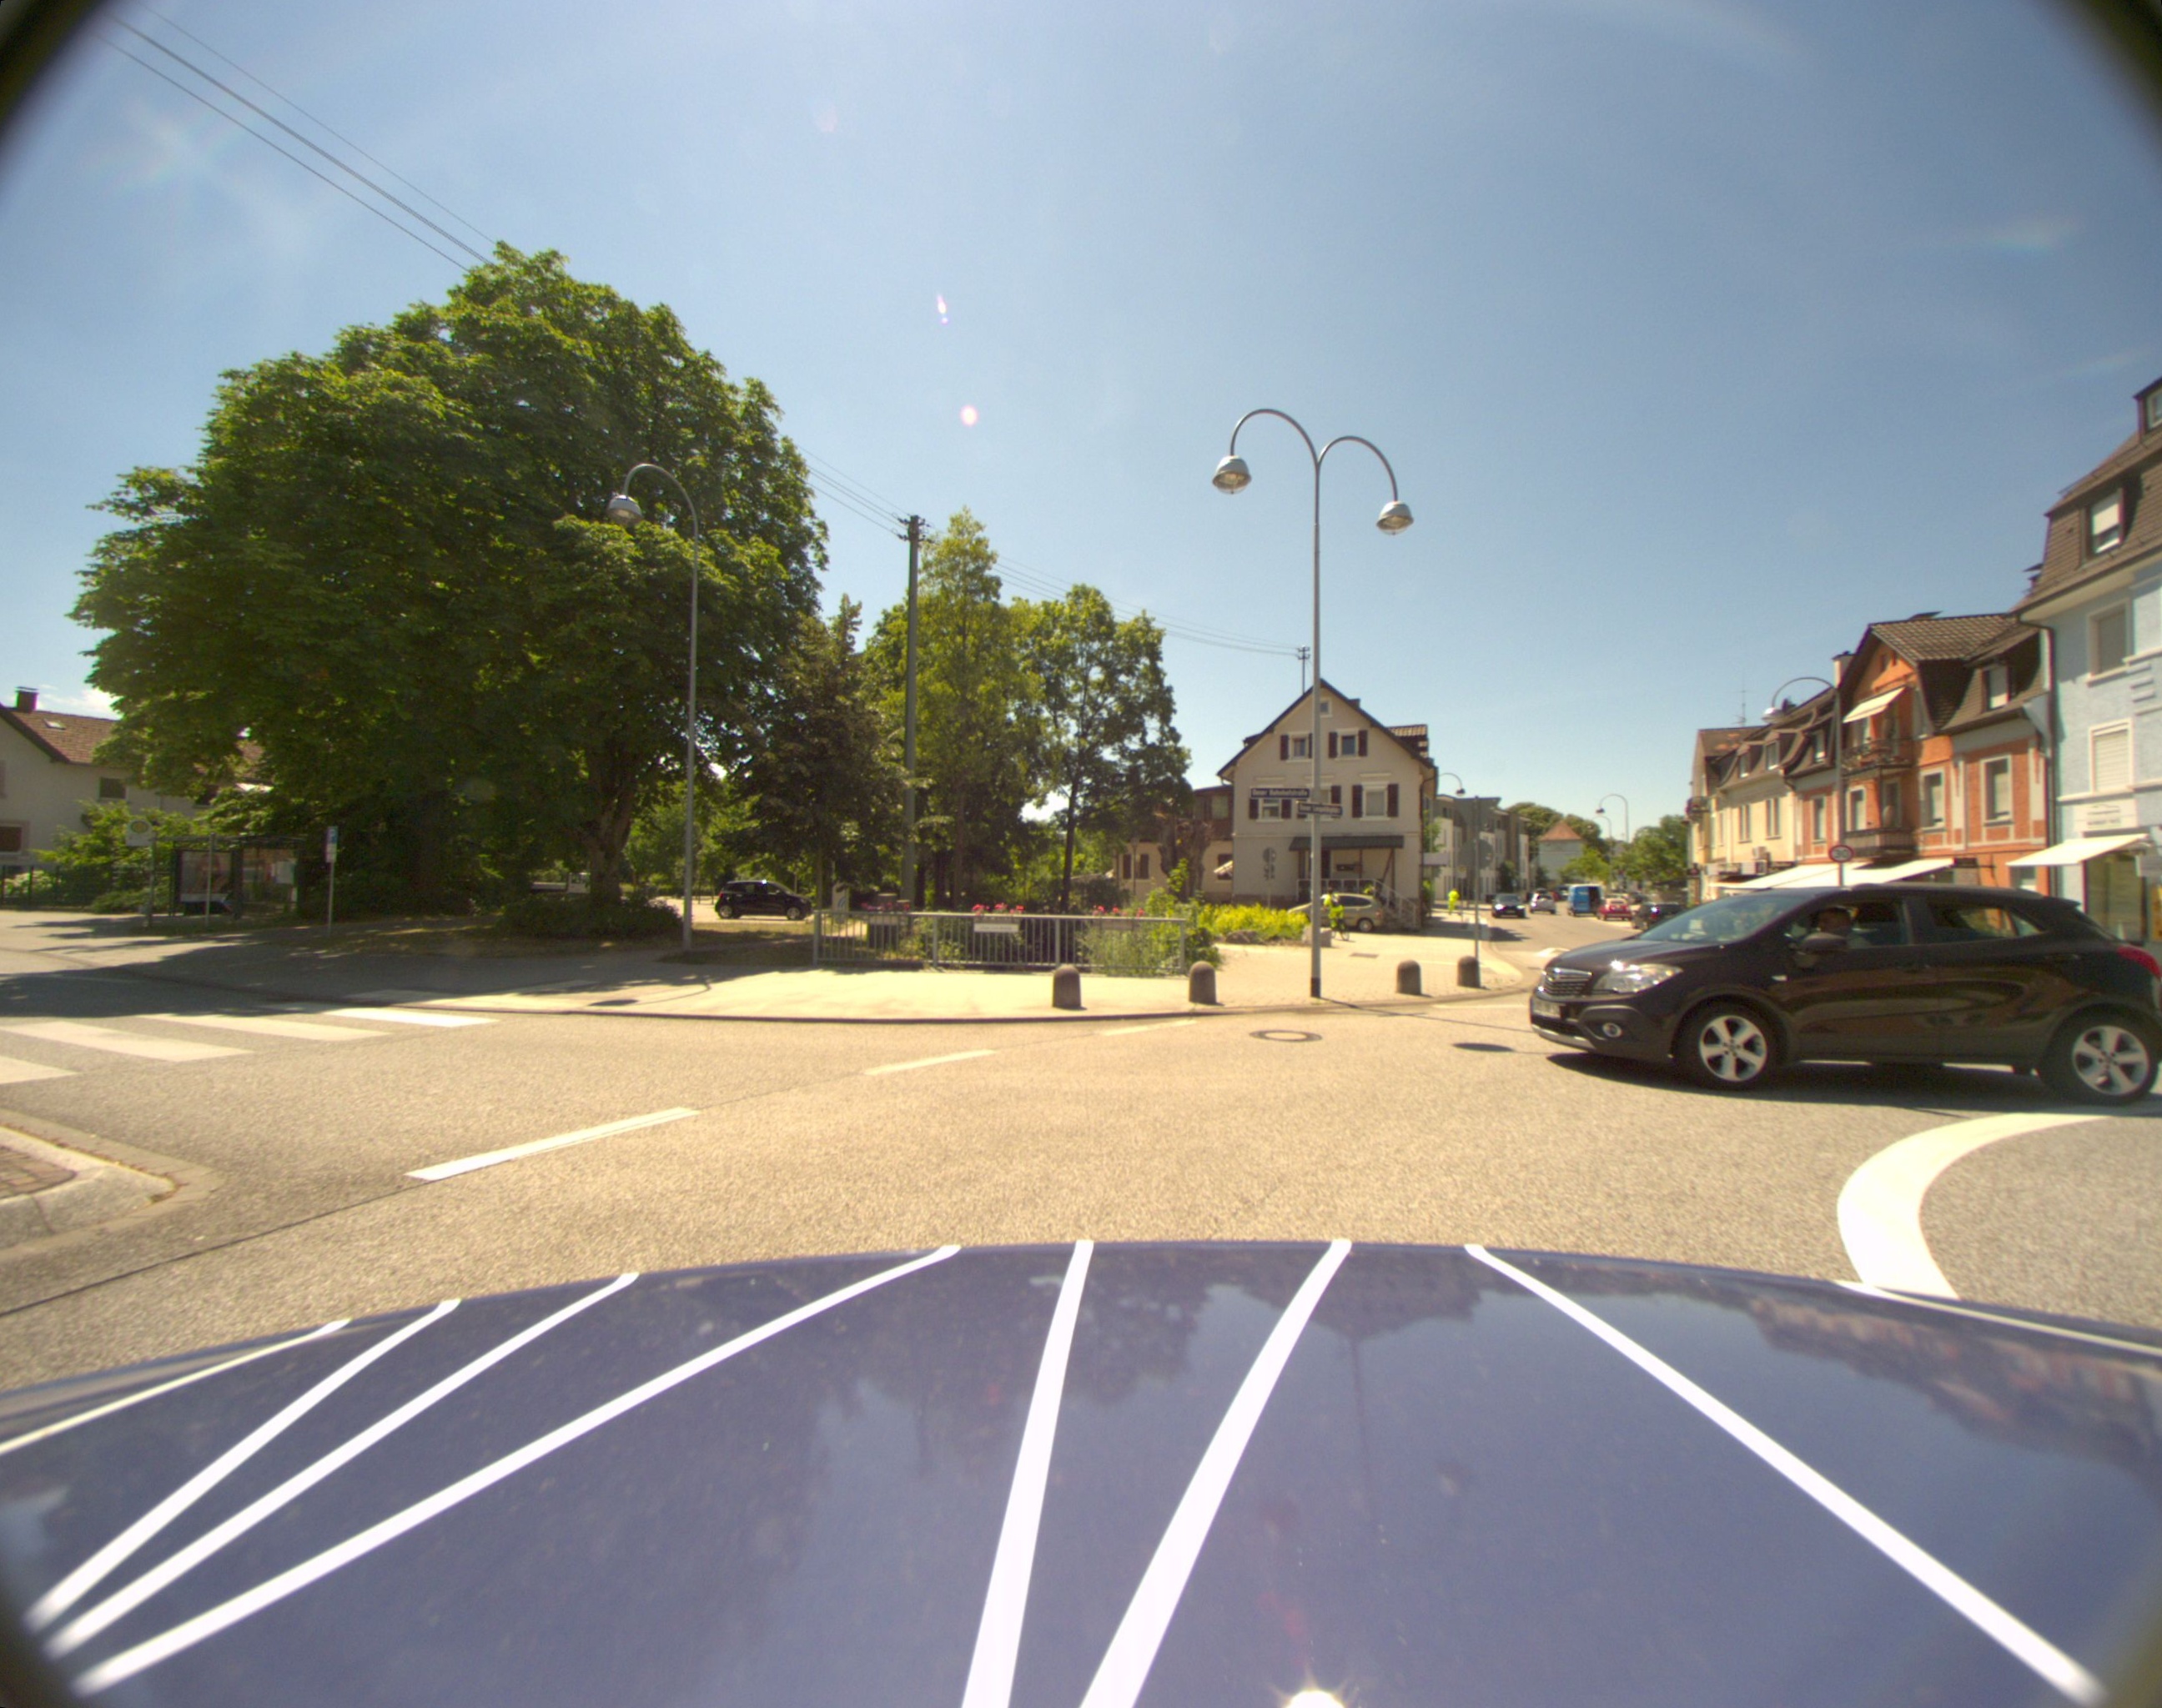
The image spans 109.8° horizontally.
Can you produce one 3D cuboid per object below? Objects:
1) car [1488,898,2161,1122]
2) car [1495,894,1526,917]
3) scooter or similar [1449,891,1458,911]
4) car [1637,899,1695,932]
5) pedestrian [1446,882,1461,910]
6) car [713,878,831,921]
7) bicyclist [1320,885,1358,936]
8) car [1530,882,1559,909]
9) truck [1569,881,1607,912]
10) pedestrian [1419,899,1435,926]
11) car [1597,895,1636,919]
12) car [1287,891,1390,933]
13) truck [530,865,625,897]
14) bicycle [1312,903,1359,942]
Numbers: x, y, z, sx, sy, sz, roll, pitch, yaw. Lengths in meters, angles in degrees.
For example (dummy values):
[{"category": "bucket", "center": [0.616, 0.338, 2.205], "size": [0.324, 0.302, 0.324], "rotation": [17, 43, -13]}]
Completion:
[{"category": "car", "center": [6.166, 1.190, 6.622], "size": [4.160, 1.552, 2.003], "rotation": [0, -4, 7]}, {"category": "car", "center": [30.783, 3.645, 54.513], "size": [1.750, 1.536, 3.602], "rotation": [-2, -3, 27]}, {"category": "scooter or similar", "center": [27.278, 3.431, 55.608], "size": [0.526, 1.365, 1.350], "rotation": [0, -1, 29]}, {"category": "car", "center": [30.012, 3.131, 39.096], "size": [1.679, 1.536, 3.955], "rotation": [-2, -3, 28]}, {"category": "pedestrian", "center": [27.308, 3.085, 55.657], "size": [0.918, 2.017, 0.902], "rotation": [0, -1, 29]}, {"category": "car", "center": [-12.199, 1.789, 30.253], "size": [4.000, 1.591, 1.841], "rotation": [1, -2, -9]}, {"category": "bicyclist", "center": [8.888, 1.935, 26.225], "size": [0.810, 1.625, 1.062], "rotation": [4, -1, -3]}, {"category": "car", "center": [38.786, 3.424, 63.568], "size": [1.925, 2.095, 4.460], "rotation": [2, -1, 31]}, {"category": "truck", "center": [39.186, 3.270, 58.825], "size": [1.957, 2.355, 4.346], "rotation": [-2, -3, 28]}, {"category": "pedestrian", "center": [17.181, 2.911, 37.785], "size": [0.684, 1.278, 0.582], "rotation": [1, -1, 21]}, {"category": "car", "center": [36.063, 3.534, 51.203], "size": [1.679, 1.536, 3.602], "rotation": [-2, -3, 28]}, {"category": "car", "center": [11.175, 2.475, 33.029], "size": [3.989, 1.586, 1.799], "rotation": [1, -2, 26]}, {"category": "truck", "center": [-40.371, 2.229, 61.014], "size": [6.231, 2.427, 2.260], "rotation": [2, -4, -36]}, {"category": "bicycle", "center": [8.838, 2.361, 26.453], "size": [0.810, 1.149, 1.852], "rotation": [4, -1, -4]}]
